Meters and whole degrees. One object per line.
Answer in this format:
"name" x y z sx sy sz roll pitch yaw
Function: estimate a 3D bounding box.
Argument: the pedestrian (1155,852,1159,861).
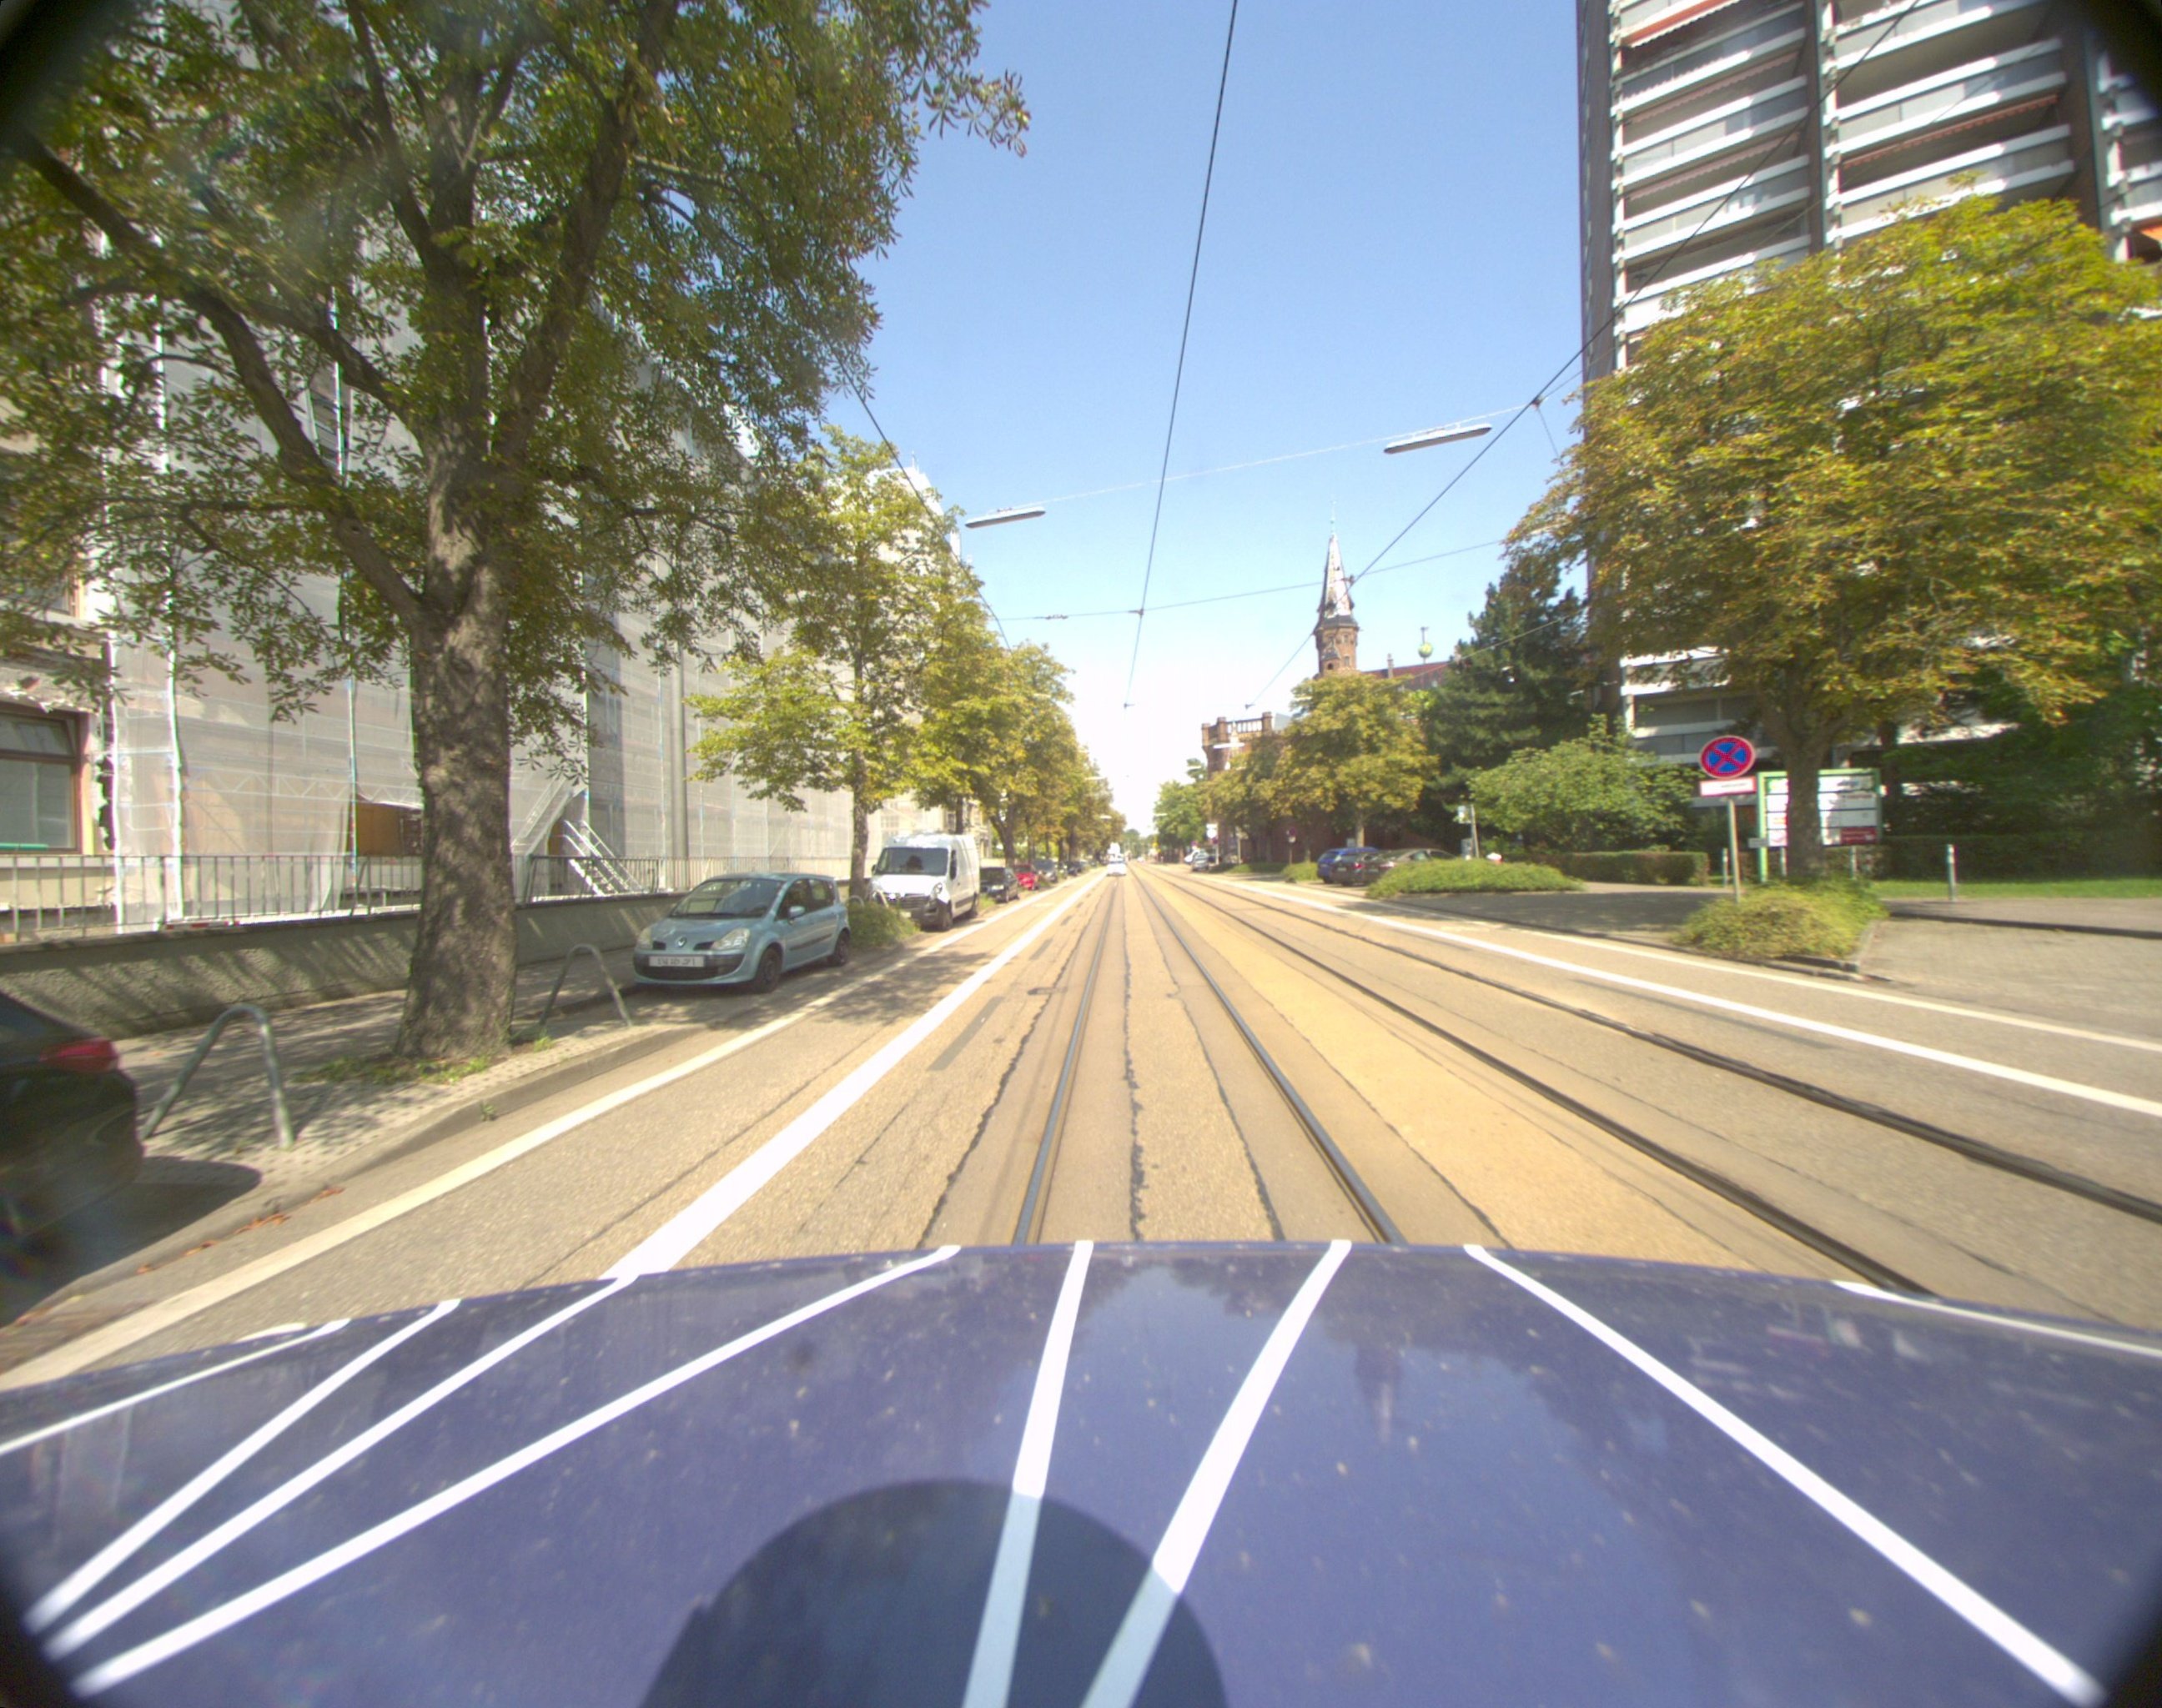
"pedestrian" 16.218 0.524 161.589 0.736 1.837 0.828 -2 0 4

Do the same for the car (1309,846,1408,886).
"car" 12.705 0.538 34.822 4.003 1.638 1.839 -2 0 -20

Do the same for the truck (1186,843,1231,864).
"truck" 19.986 -0.087 119.202 6.509 2.510 2.318 -6 0 4

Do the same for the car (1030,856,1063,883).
"car" -2.303 1.009 51.729 1.766 1.678 4.649 -2 0 2

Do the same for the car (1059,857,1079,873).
"car" -1.135 1.078 73.724 1.644 1.561 4.085 0 -1 4

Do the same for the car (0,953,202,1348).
"car" -5.141 1.204 1.302 1.678 1.449 4.665 -1 0 3

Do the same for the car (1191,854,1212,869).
"car" 12.887 0.828 81.716 1.939 1.493 4.516 -2 0 6

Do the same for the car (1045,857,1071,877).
"car" -1.837 1.031 62.156 1.689 1.561 4.001 -2 0 4

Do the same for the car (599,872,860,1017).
"car" -4.783 1.126 11.104 1.678 1.570 4.172 0 1 3

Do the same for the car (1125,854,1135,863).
"car" 8.019 0.732 124.468 1.677 1.477 3.779 -1 1 3

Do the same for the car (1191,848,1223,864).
"car" 18.707 0.292 113.248 4.406 1.787 2.001 -6 0 6

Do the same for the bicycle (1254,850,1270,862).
"bicycle" 18.132 0.176 76.081 1.448 1.056 0.377 -7 1 -6

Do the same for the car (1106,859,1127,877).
"car" 3.144 1.208 66.569 1.823 1.483 4.020 -1 0 3

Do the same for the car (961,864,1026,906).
"car" -3.435 1.177 30.654 1.689 1.432 4.804 -2 0 4

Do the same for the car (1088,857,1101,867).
"car" 2.432 1.363 132.934 1.998 1.521 4.001 -2 0 4

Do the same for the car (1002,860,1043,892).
"car" -3.115 1.154 41.255 1.689 1.491 4.132 -2 0 3

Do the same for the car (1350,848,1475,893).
"car" 12.408 0.587 28.466 4.300 1.488 1.777 -2 0 -23

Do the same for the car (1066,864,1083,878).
"car" -0.667 1.860 84.861 1.642 1.464 3.994 1 0 3

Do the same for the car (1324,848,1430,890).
"car" 12.301 0.612 31.591 4.004 1.561 1.777 -2 0 -23

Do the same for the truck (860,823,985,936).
"truck" -4.055 0.591 20.544 1.921 2.584 5.593 -2 0 2

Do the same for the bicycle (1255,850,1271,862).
"bicycle" 18.165 0.174 75.765 1.448 1.056 0.377 -7 1 -6

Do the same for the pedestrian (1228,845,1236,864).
"pedestrian" 16.330 0.039 82.068 0.520 1.969 0.504 -3 1 -43
